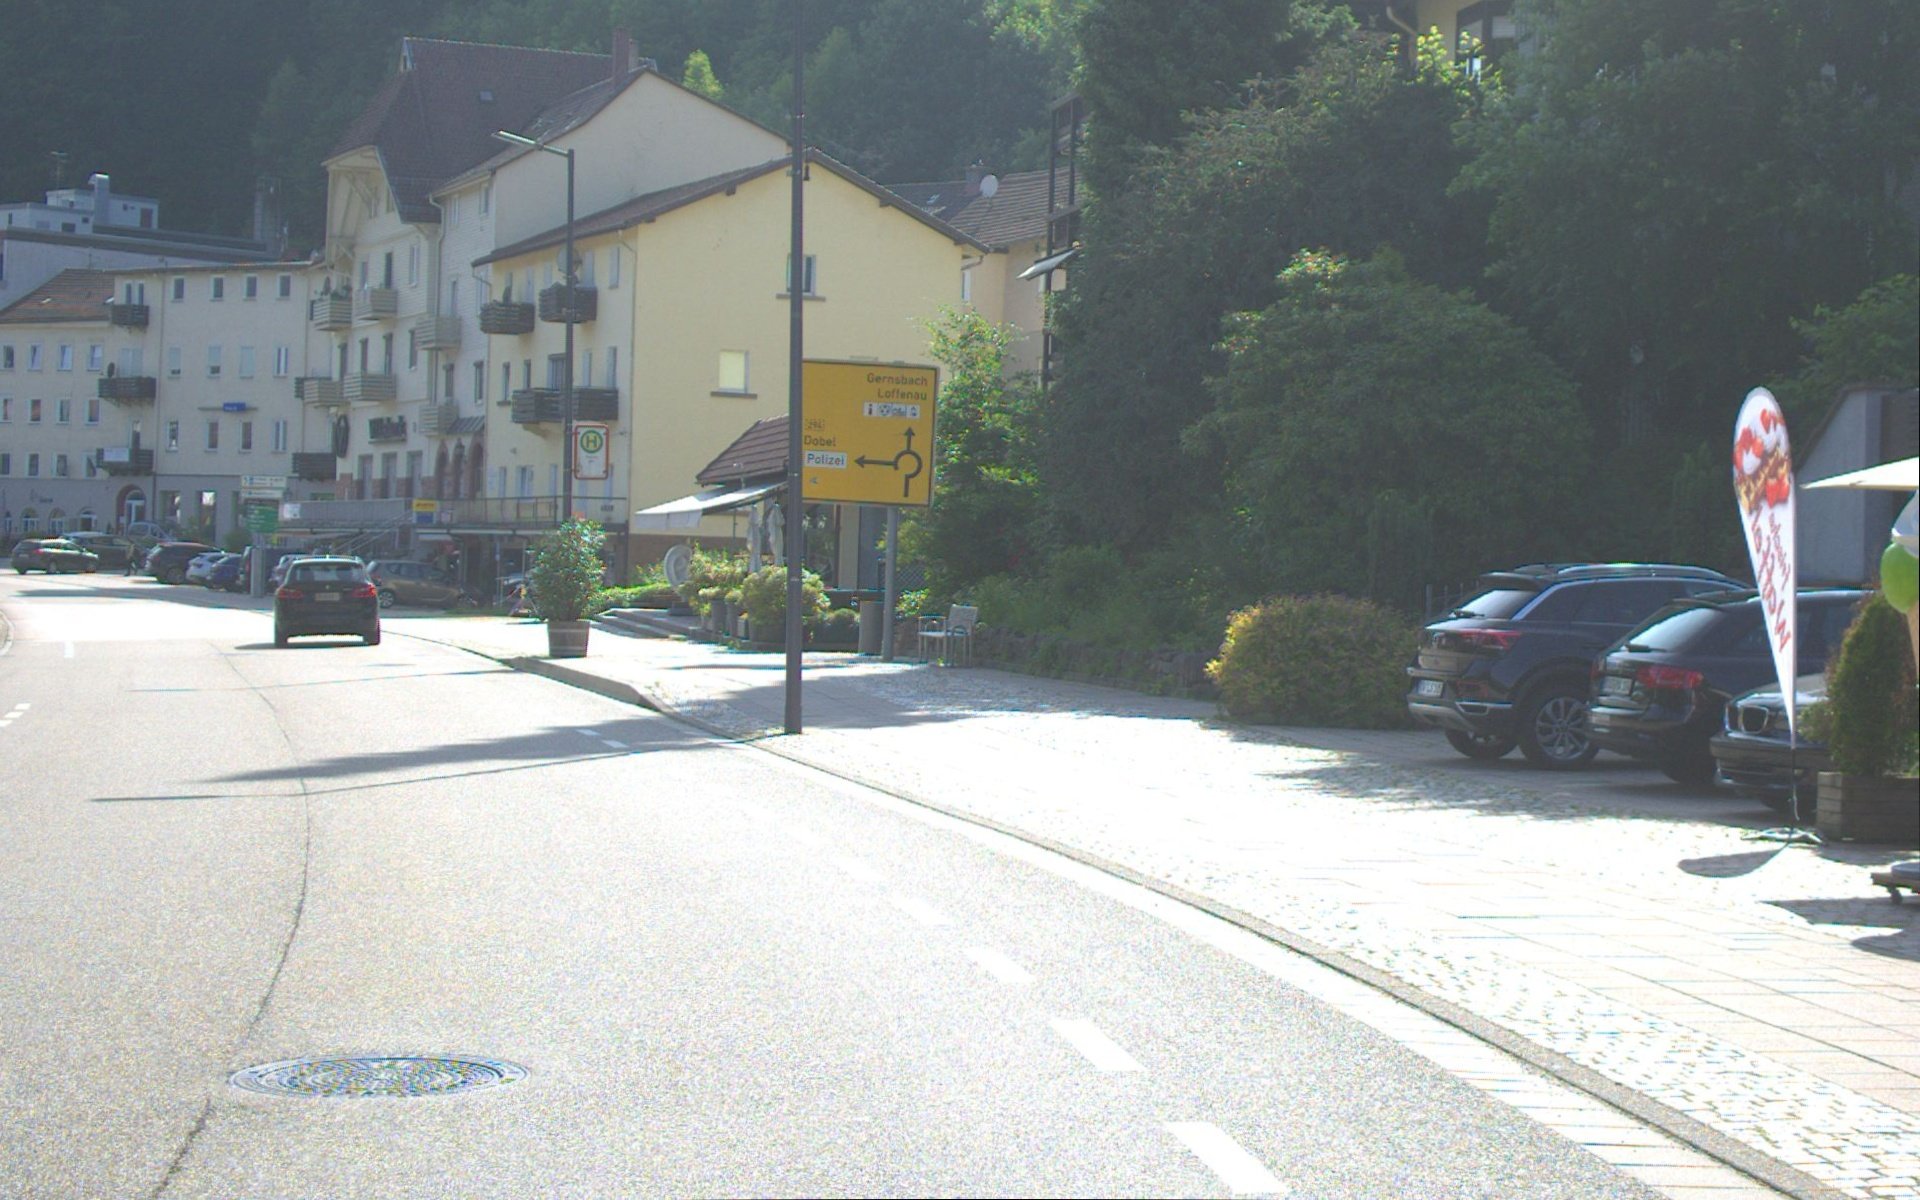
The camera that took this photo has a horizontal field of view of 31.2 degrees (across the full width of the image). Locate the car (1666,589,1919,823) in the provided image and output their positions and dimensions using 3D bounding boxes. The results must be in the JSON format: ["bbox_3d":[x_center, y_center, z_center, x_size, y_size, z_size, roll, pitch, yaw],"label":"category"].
[{"bbox_3d":[6.772,0.655,21.511,4.261,1.374,1.710,1,0,-10],"label":"car"}]

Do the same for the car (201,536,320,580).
[{"bbox_3d":[-27.773,-1.665,136.409,4.355,1.456,1.773,3,-1,-19],"label":"car"}]

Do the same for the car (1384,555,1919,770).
[{"bbox_3d":[5.450,0.472,26.845,3.874,1.574,1.749,1,1,-10],"label":"car"}]

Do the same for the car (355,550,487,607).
[{"bbox_3d":[-17.658,-0.714,112.636,3.858,1.549,1.761,4,0,-24],"label":"car"}]

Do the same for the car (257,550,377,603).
[{"bbox_3d":[-23.477,-0.855,125.531,3.908,1.583,1.775,4,0,-22],"label":"car"}]

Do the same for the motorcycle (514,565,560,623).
[{"bbox_3d":[-9.716,-0.156,78.957,0.697,1.292,2.213,-1,1,-16],"label":"motorcycle"}]

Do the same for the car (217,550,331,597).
[{"bbox_3d":[-26.011,-1.002,130.326,3.908,1.456,1.736,4,0,-21],"label":"car"}]

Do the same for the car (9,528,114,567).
[{"bbox_3d":[-38.716,-2.274,148.122,3.987,1.656,2.000,-1,2,-32],"label":"car"}]

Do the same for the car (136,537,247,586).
[{"bbox_3d":[-31.406,-1.574,140.564,4.082,1.660,1.773,5,0,-21],"label":"car"}]

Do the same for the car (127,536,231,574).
[{"bbox_3d":[-33.629,-1.946,148.113,4.011,1.511,1.772,-2,4,-42],"label":"car"}]

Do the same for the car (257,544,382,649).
[{"bbox_3d":[-11.134,-0.085,59.605,1.726,1.569,3.754,3,2,-16],"label":"car"}]

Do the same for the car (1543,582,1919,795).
[{"bbox_3d":[6.384,0.616,24.231,4.108,1.410,1.749,1,0,-10],"label":"car"}]
